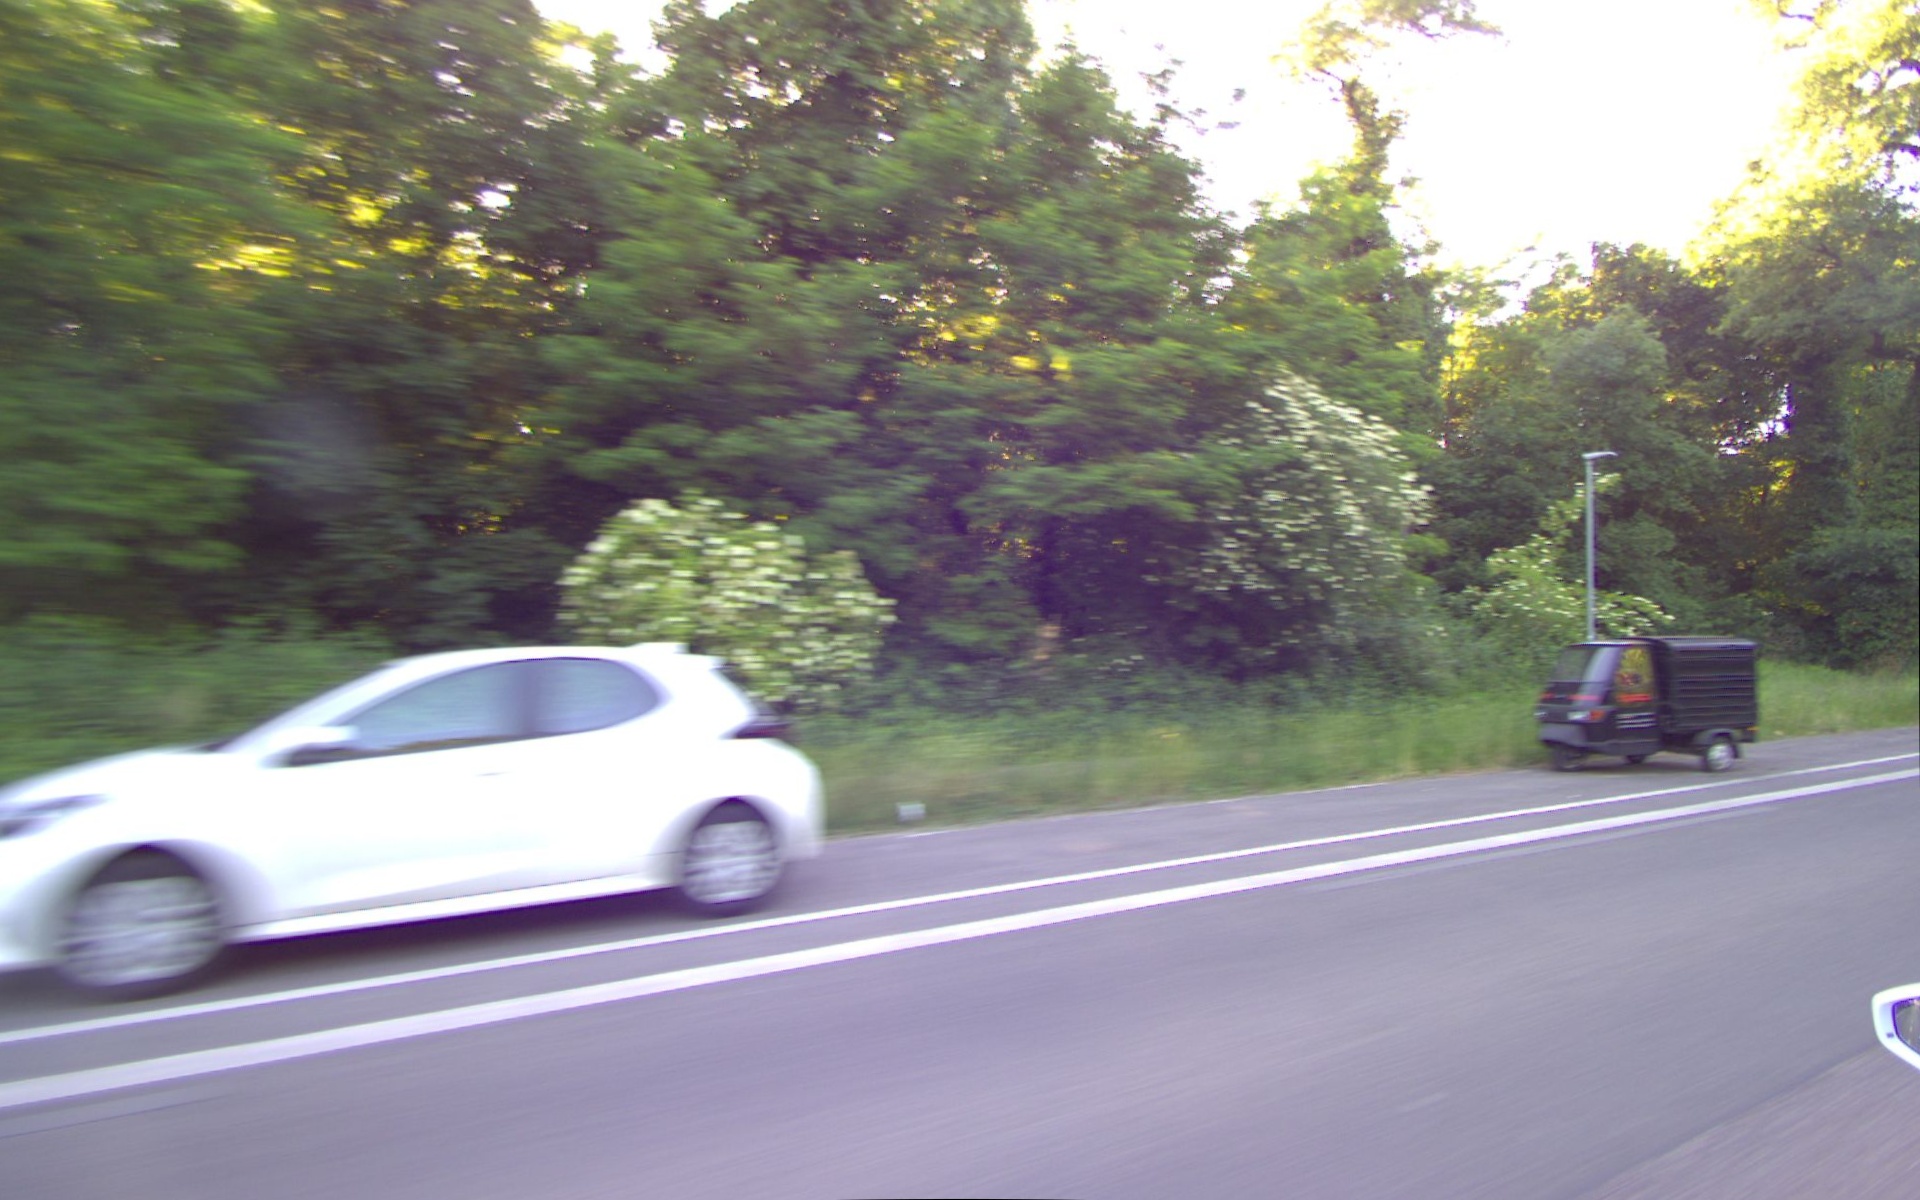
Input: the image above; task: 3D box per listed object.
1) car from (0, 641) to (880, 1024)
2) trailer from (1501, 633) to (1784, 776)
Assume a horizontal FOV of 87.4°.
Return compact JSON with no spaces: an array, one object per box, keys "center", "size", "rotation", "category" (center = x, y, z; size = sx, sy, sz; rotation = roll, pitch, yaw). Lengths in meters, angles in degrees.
[{"center":[-2.656,0.990,5.596],"size":[4.023,1.469,1.859],"rotation":[1,-4,-30],"category":"car"},{"center":[8.229,1.213,12.211],"size":[2.626,1.595,1.398],"rotation":[1,-1,-10],"category":"trailer"}]
